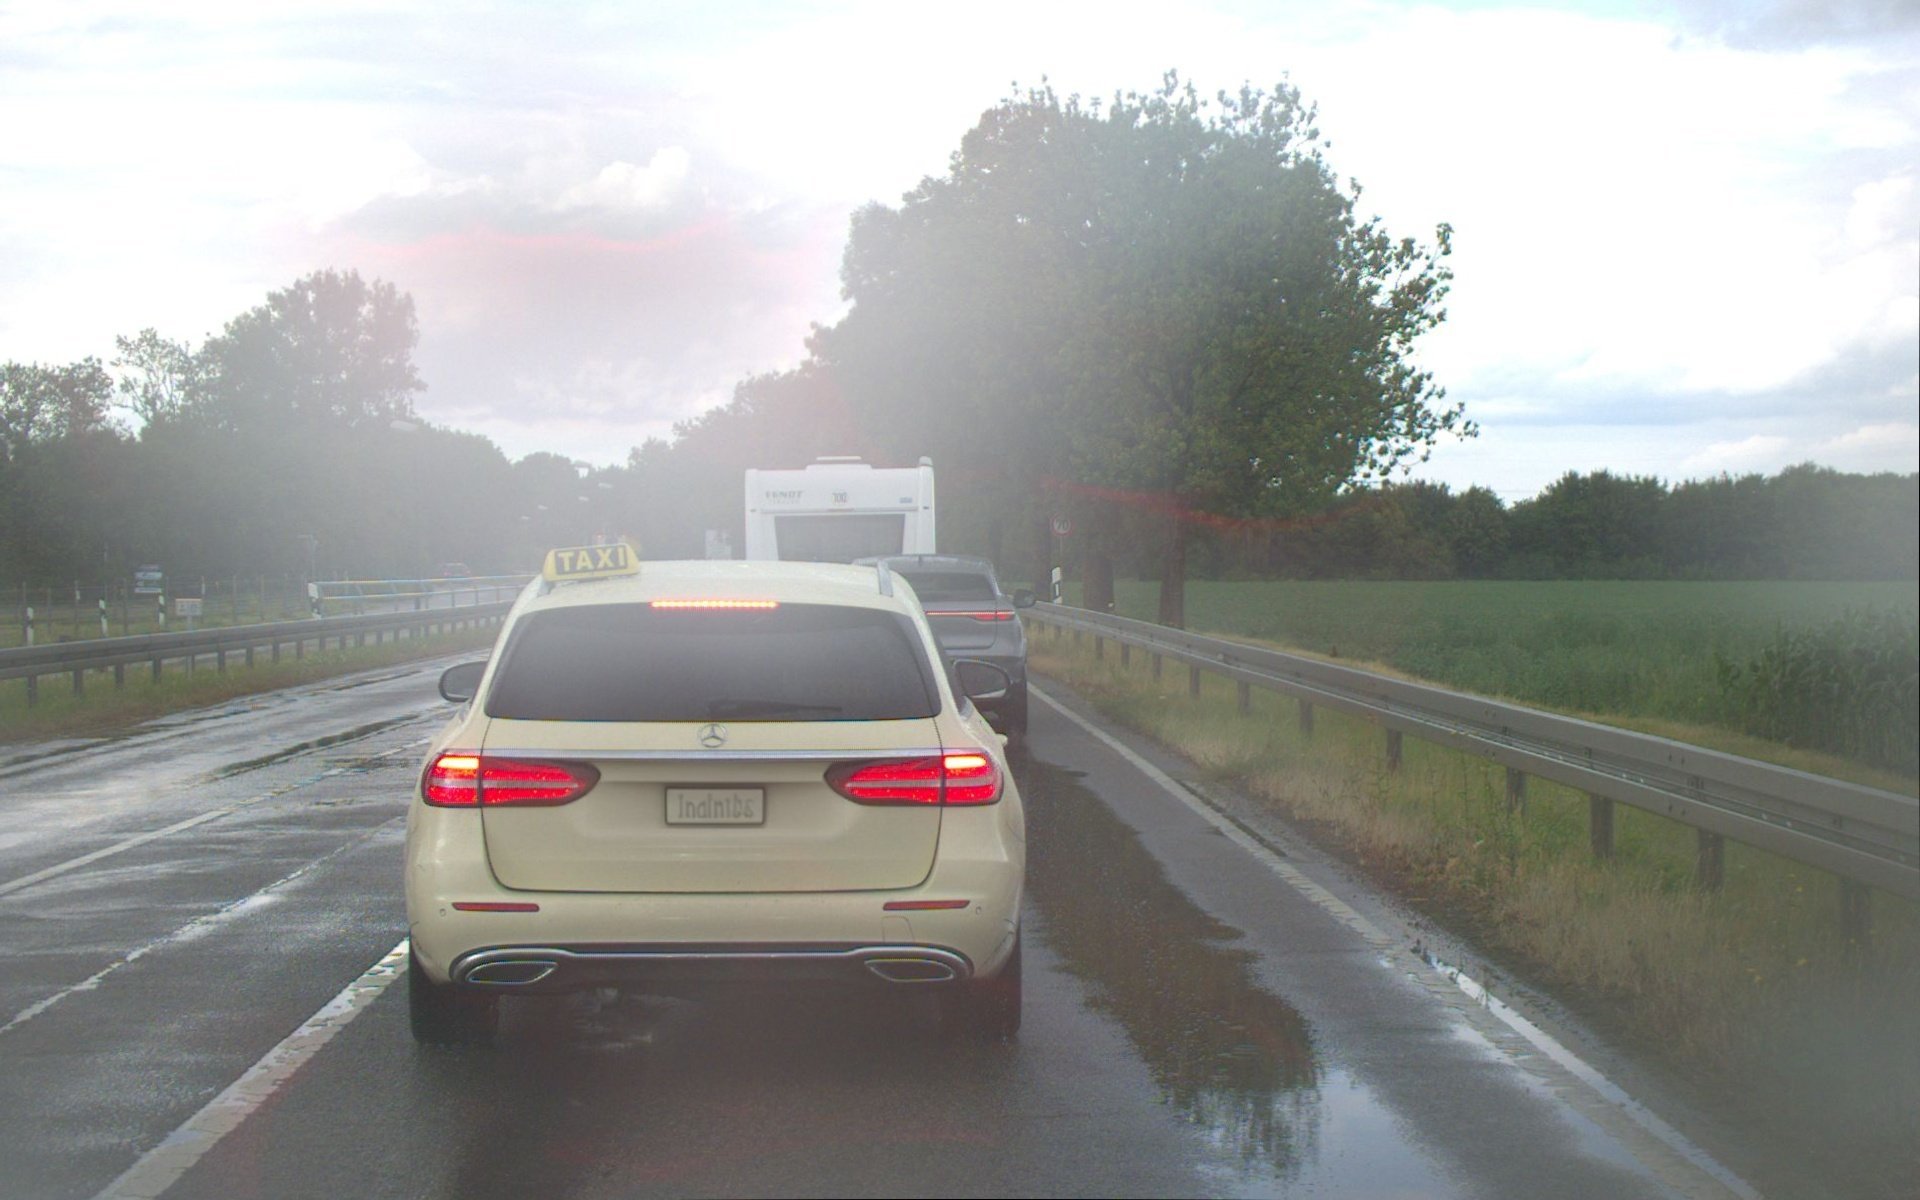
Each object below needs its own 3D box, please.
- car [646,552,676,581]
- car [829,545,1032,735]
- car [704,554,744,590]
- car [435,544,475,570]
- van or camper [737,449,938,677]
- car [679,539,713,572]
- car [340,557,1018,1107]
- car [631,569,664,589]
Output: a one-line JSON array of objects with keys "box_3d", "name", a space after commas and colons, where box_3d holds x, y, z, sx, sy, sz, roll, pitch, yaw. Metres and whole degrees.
[{"box_3d": [-21.258, -2.376, 244.356, 1.993, 2.007, 4.001, 0, 1, -6], "name": "car"}, {"box_3d": [-0.272, 0.294, 29.713, 1.627, 1.524, 3.933, 0, 1, -1], "name": "car"}, {"box_3d": [-13.495, -1.591, 196.652, 1.993, 2.044, 4.000, 0, 1, 0], "name": "car"}, {"box_3d": [-32.432, -2.748, 220.800, 1.993, 1.645, 4.000, 0, 1, 0], "name": "car"}, {"box_3d": [-1.486, -0.491, 43.154, 2.350, 2.671, 5.769, 0, 1, -1], "name": "van or camper"}, {"box_3d": [-16.061, -2.721, 209.051, 1.993, 2.007, 4.001, 0, 1, -3], "name": "car"}, {"box_3d": [-0.755, 0.600, 11.331, 1.825, 1.480, 4.145, 0, 1, 0], "name": "car"}, {"box_3d": [-19.442, -1.312, 214.219, 1.758, 1.265, 4.000, 0, 1, -1], "name": "car"}]
